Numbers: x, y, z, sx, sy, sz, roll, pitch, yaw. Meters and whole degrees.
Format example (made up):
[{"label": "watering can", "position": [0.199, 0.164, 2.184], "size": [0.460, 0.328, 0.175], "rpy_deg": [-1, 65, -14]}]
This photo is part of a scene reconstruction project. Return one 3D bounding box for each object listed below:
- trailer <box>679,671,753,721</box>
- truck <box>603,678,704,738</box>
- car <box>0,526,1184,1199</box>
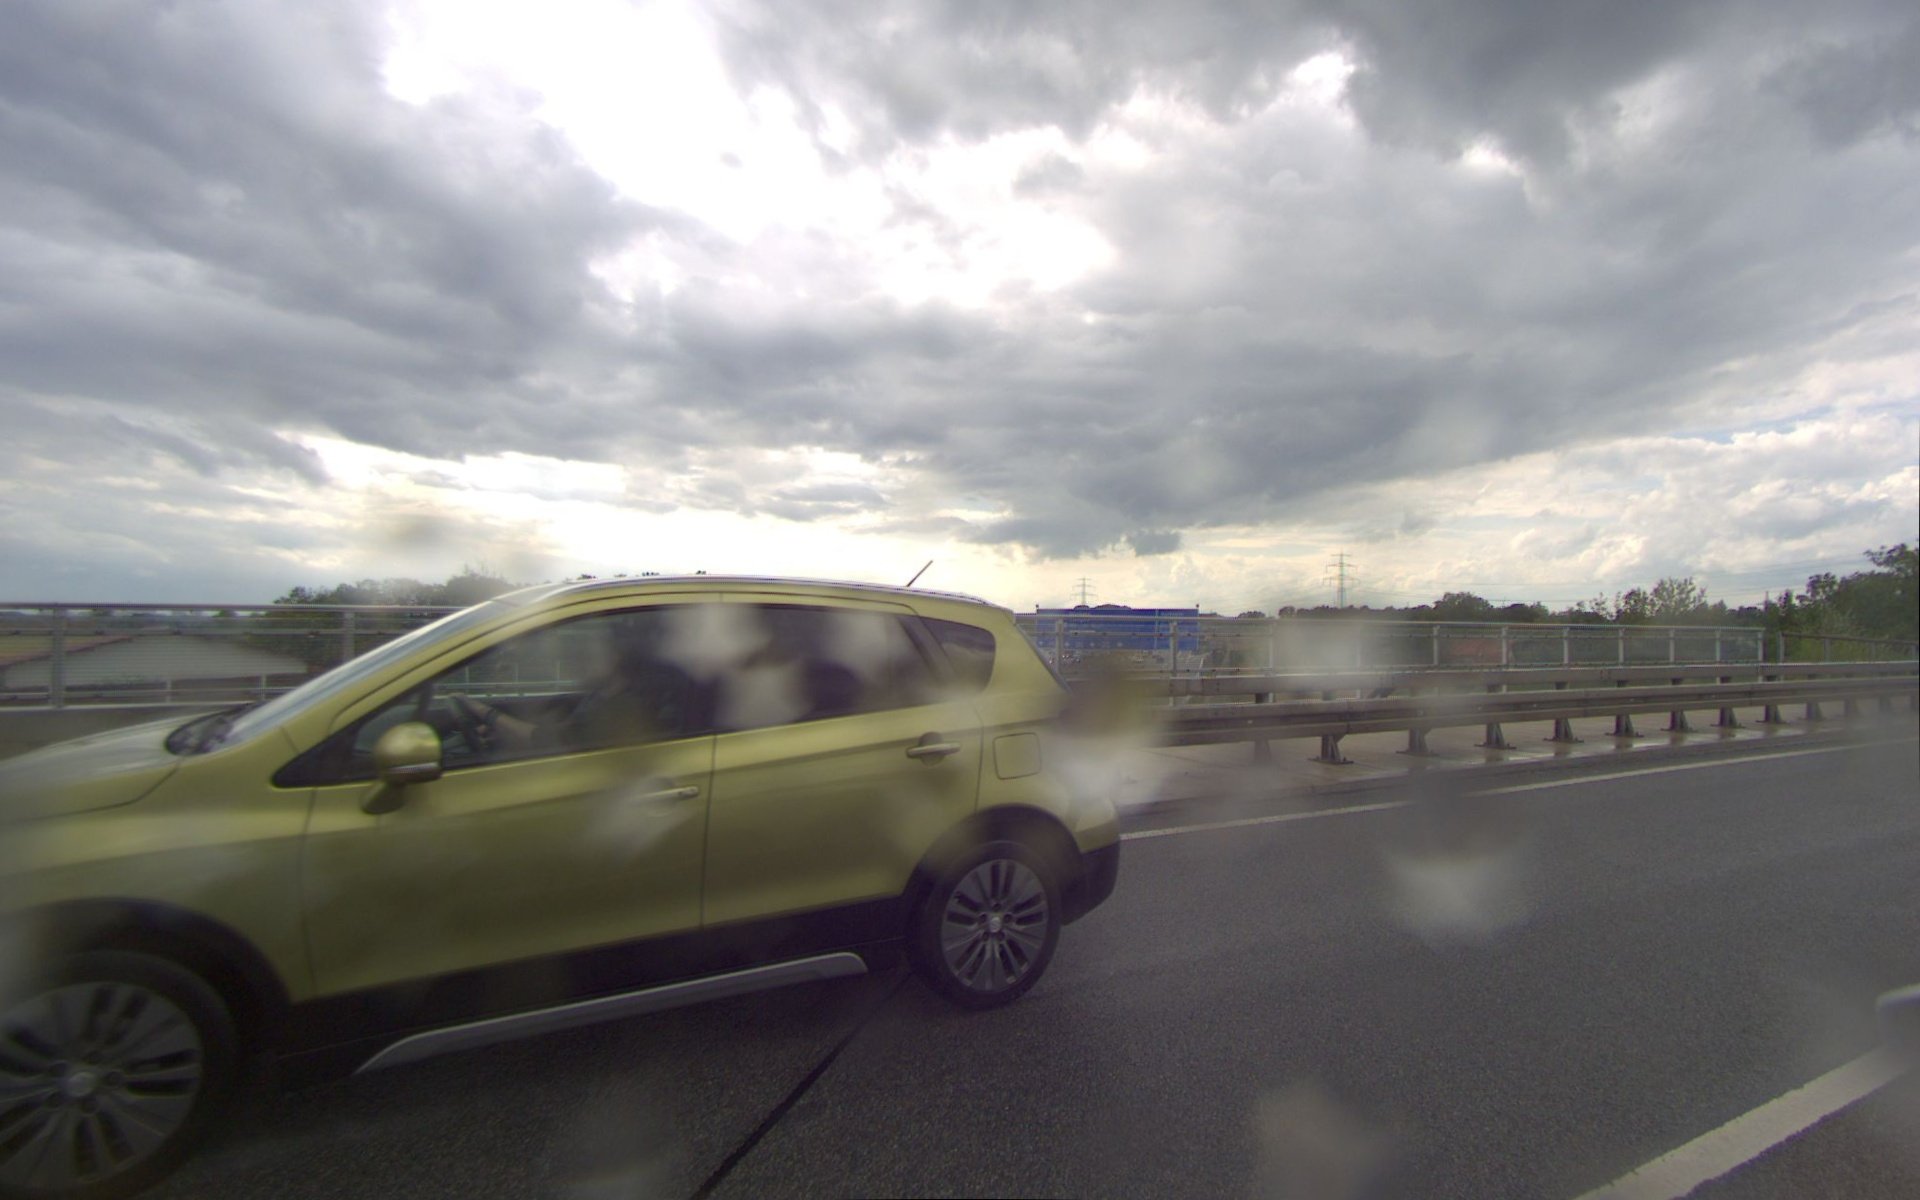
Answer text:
[{"label": "trailer", "position": [-22.871, 8.961, 94.910], "size": [2.388, 3.812, 9.461], "rpy_deg": [1, 0, 16]}, {"label": "truck", "position": [-25.707, 8.945, 85.031], "size": [2.388, 3.812, 11.173], "rpy_deg": [1, 0, 16]}, {"label": "car", "position": [-1.197, 0.653, 3.748], "size": [3.815, 1.537, 1.705], "rpy_deg": [2, 0, -31]}]
